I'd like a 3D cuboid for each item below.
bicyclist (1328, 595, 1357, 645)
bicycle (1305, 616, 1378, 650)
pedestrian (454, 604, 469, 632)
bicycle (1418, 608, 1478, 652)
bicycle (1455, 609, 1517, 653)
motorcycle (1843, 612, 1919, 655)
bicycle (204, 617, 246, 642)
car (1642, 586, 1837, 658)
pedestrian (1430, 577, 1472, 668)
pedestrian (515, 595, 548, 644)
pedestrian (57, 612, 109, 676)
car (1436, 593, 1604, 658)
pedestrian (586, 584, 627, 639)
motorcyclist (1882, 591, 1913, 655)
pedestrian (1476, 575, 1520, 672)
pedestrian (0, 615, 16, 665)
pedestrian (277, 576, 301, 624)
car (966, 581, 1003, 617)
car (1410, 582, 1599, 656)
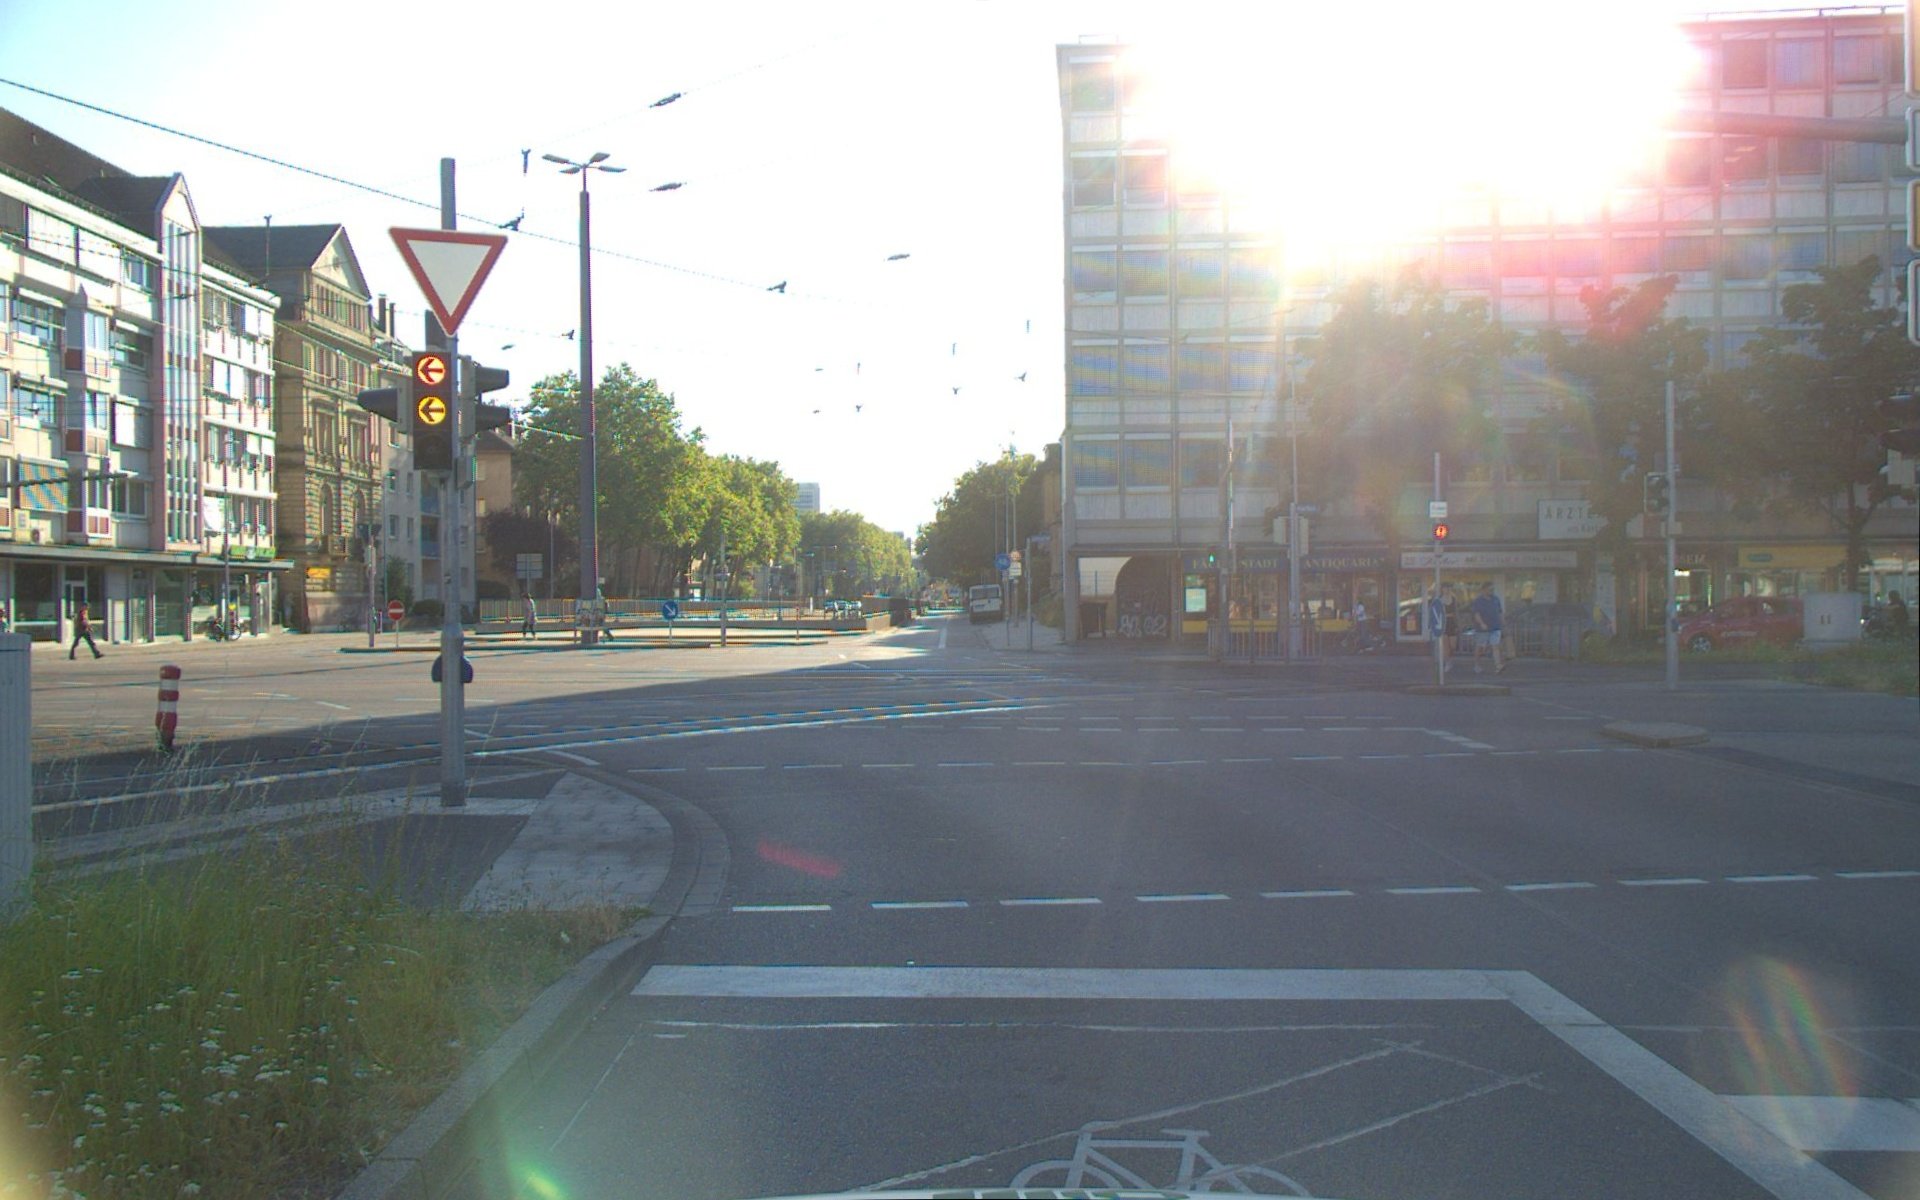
[{"bbox_3d":[11.175,0.582,48.375,0.665,1.449,0.671,1,-1,-2],"label":"bicyclist"},{"bbox_3d":[11.160,0.965,48.379,1.983,0.957,0.671,1,0,-2],"label":"bicycle"},{"bbox_3d":[-31.972,1.152,106.034,0.681,1.725,0.724,1,-1,-1],"label":"pedestrian"},{"bbox_3d":[14.584,0.883,49.539,0.735,1.163,2.638,1,2,-6],"label":"bicycle"},{"bbox_3d":[15.755,0.912,49.603,0.735,1.163,2.638,1,2,-6],"label":"bicycle"},{"bbox_3d":[22.875,0.821,40.098,2.606,1.019,0.535,1,0,4],"label":"motorcycle"},{"bbox_3d":[-32.440,1.290,73.018,0.441,1.089,2.093,1,0,16],"label":"bicycle"},{"bbox_3d":[18.907,0.530,40.247,3.903,1.646,1.845,1,0,4],"label":"car"},{"bbox_3d":[9.493,0.429,31.975,0.680,1.712,1.043,1,-1,12],"label":"pedestrian"},{"bbox_3d":[-13.359,0.614,51.518,0.844,1.491,0.679,1,-6,-30],"label":"pedestrian"},{"bbox_3d":[-27.804,1.403,52.476,1.171,1.915,0.856,1,6,-5],"label":"pedestrian"},{"bbox_3d":[15.124,0.682,44.833,3.982,1.646,1.845,1,0,4],"label":"car"},{"bbox_3d":[-11.558,0.383,54.115,1.171,1.761,0.855,1,-1,-5],"label":"pedestrian"},{"bbox_3d":[22.741,0.561,40.109,0.451,1.535,0.535,1,-1,4],"label":"motorcyclist"},{"bbox_3d":[10.361,0.443,31.866,0.680,1.824,1.043,1,-1,12],"label":"pedestrian"},{"bbox_3d":[-28.739,1.186,49.301,0.691,1.479,0.855,1,0,-5],"label":"pedestrian"},{"bbox_3d":[-34.501,0.003,85.075,0.910,2.440,0.958,1,-1,-11],"label":"pedestrian"},{"bbox_3d":[1.559,-0.050,103.929,2.238,2.210,4.834,1,0,1],"label":"car"},{"bbox_3d":[12.856,0.449,39.222,3.903,1.646,1.845,1,0,4],"label":"car"}]
